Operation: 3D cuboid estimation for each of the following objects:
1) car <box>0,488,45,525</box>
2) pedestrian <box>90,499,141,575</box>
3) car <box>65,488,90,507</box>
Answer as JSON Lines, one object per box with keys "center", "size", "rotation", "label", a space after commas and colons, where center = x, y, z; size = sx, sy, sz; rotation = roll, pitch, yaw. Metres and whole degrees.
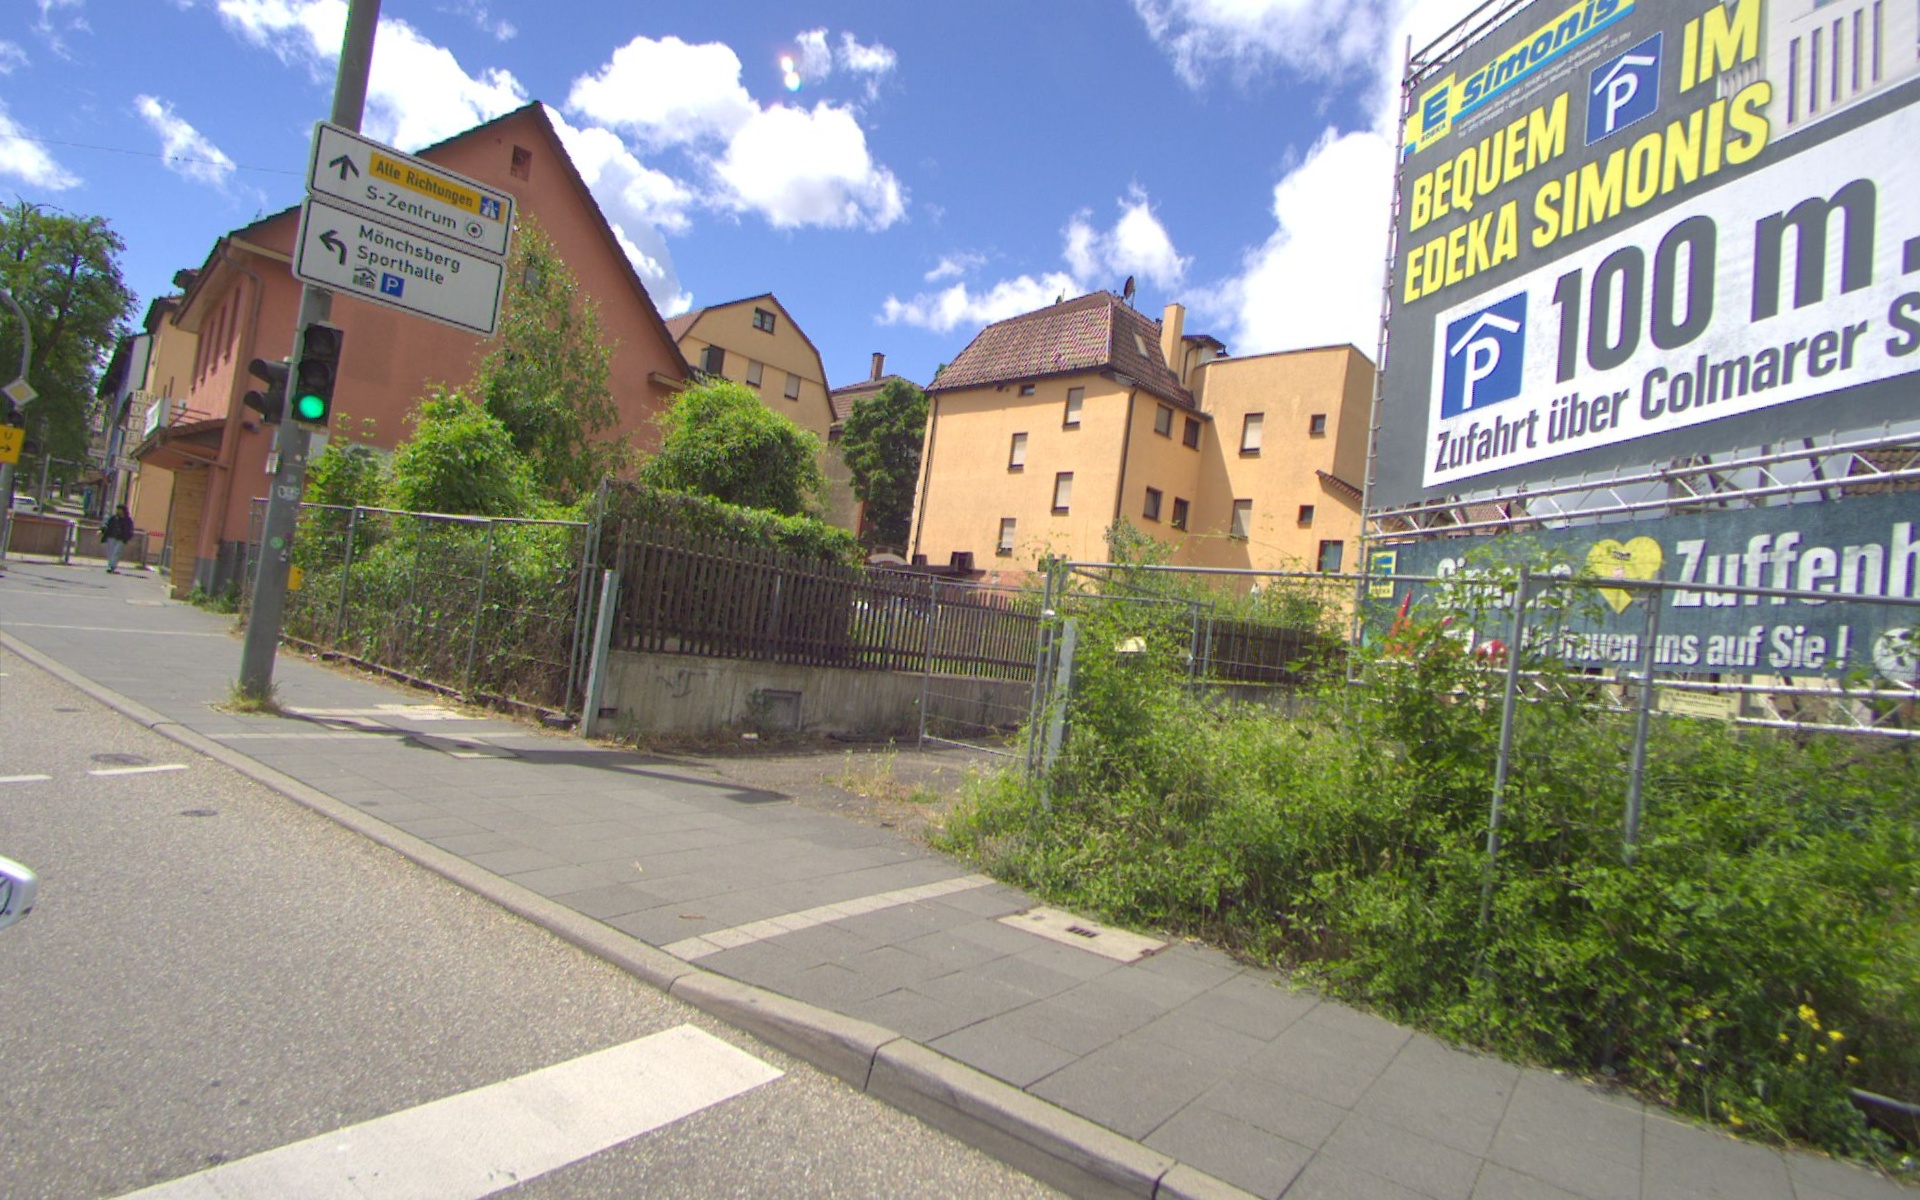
{"center": [-49.589, -4.921, 53.035], "size": [1.781, 1.615, 3.954], "rotation": [8, -2, -41], "label": "car"}
{"center": [-20.171, -1.508, 24.023], "size": [0.762, 1.663, 0.768], "rotation": [7, 1, -43], "label": "pedestrian"}
{"center": [-109.767, -12.757, 125.194], "size": [2.116, 1.880, 3.695], "rotation": [9, -2, -41], "label": "car"}
